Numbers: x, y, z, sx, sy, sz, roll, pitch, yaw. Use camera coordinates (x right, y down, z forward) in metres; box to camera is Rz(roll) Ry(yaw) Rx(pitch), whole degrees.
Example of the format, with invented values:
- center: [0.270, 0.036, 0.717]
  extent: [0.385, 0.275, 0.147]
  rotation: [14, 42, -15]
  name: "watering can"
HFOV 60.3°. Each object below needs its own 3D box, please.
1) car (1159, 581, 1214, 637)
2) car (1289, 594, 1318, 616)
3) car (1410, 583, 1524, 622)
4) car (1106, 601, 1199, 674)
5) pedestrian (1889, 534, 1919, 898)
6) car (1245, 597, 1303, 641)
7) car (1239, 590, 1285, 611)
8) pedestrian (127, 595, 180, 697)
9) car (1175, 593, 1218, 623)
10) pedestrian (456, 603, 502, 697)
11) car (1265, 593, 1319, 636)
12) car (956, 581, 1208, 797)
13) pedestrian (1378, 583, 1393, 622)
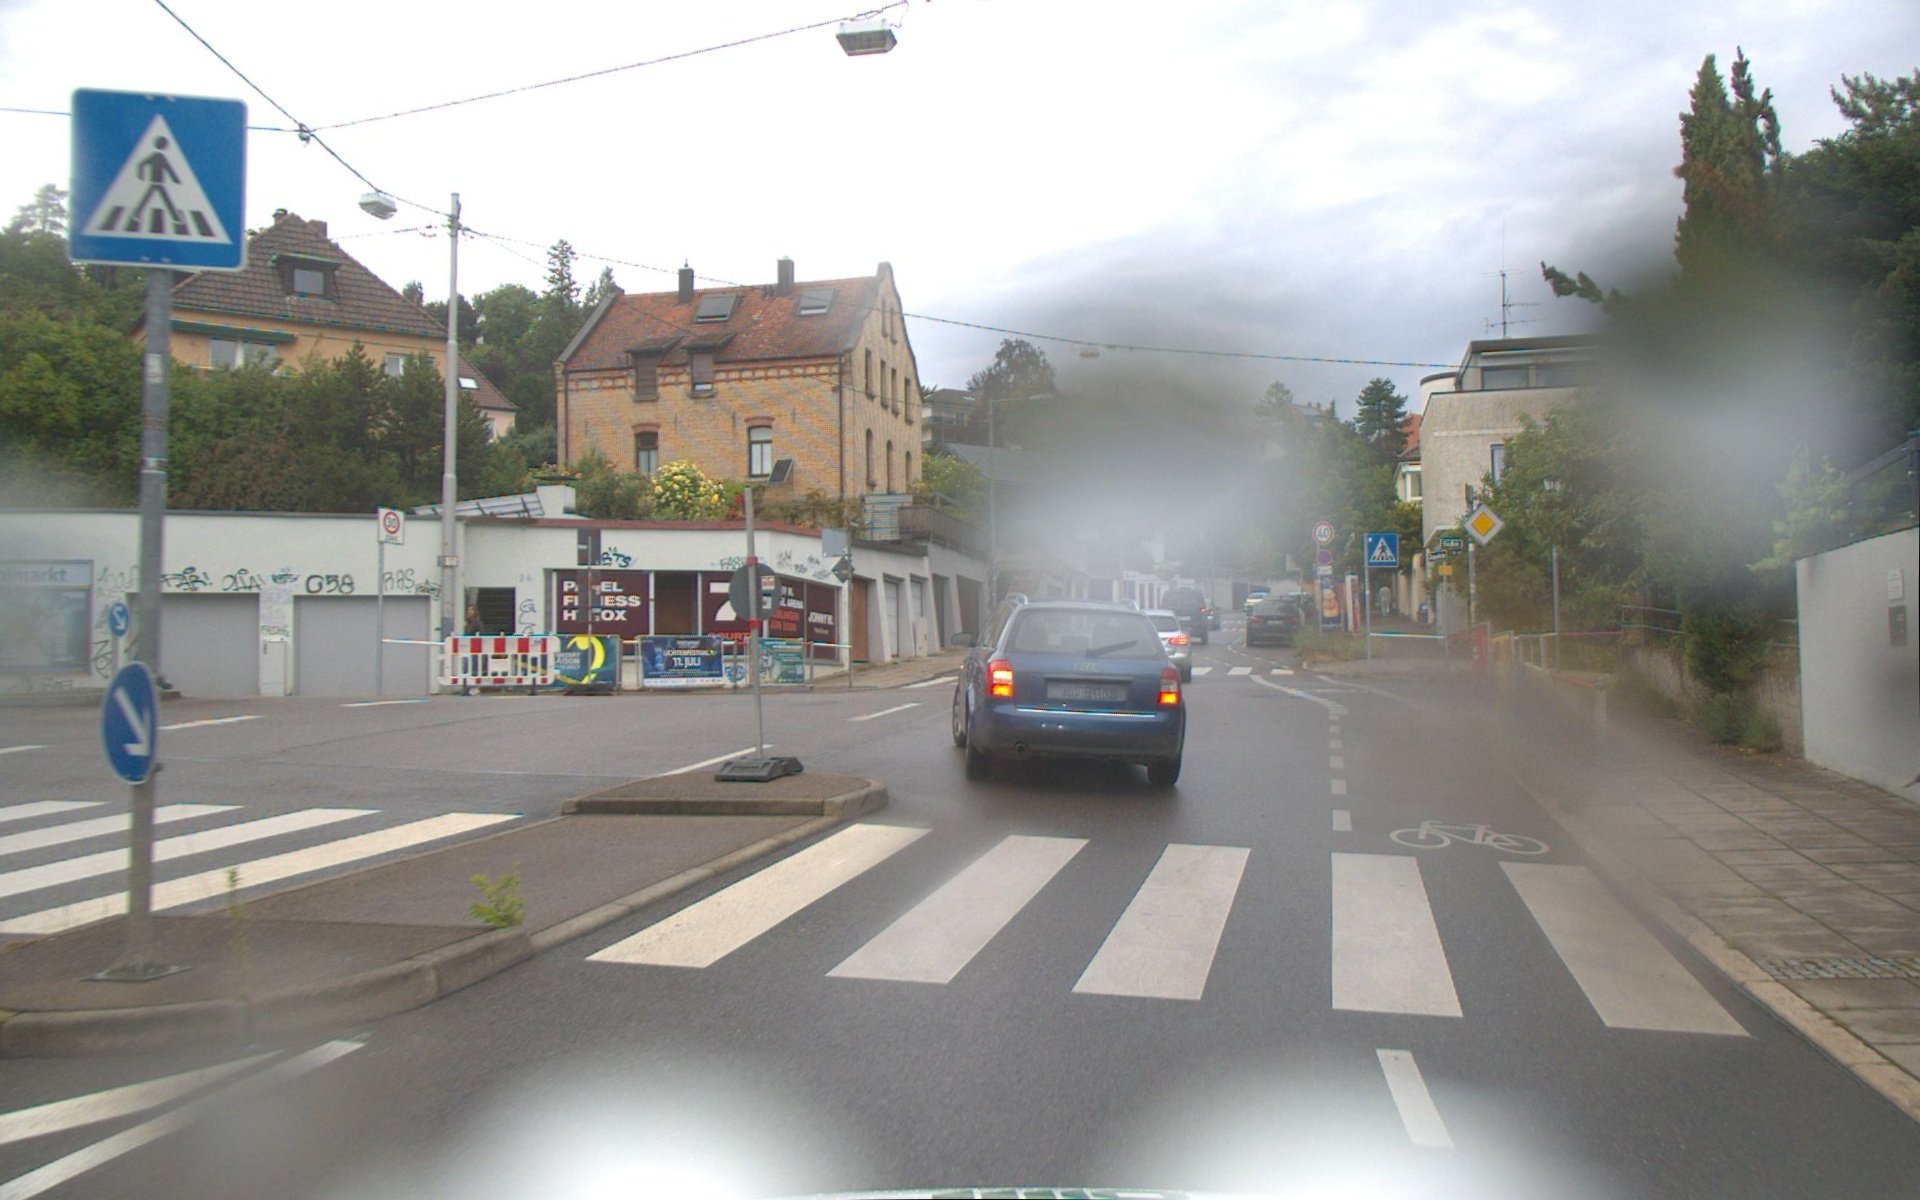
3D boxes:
- center: [7.784, 0.296, 56.771]
  extent: [1.785, 1.851, 4.003]
  rotation: [-1, 0, 8]
  name: "car"
- center: [20.796, 0.294, 100.123]
  extent: [1.437, 1.276, 3.584]
  rotation: [-1, 0, 16]
  name: "car"
- center: [19.181, 0.100, 62.624]
  extent: [3.909, 1.440, 1.723]
  rotation: [0, 0, 27]
  name: "car"
- center: [3.997, 0.777, 34.224]
  extent: [1.773, 1.384, 4.002]
  rotation: [1, -1, 7]
  name: "car"
- center: [4.927, 0.545, 7.597]
  extent: [0.786, 1.752, 1.061]
  rotation: [-2, -1, 11]
  name: "pedestrian"
- center: [10.413, 0.605, 55.116]
  extent: [1.733, 1.401, 4.352]
  rotation: [-1, 0, 9]
  name: "car"
- center: [24.182, 0.067, 132.382]
  extent: [3.507, 1.634, 1.712]
  rotation: [0, 0, -35]
  name: "car"
- center: [-14.794, 0.833, 30.350]
  extent: [0.692, 1.837, 0.805]
  rotation: [1, -1, -15]
  name: "pedestrian"
- center: [10.939, 0.370, 76.457]
  extent: [1.785, 1.319, 4.004]
  rotation: [-1, 0, 10]
  name: "car"
- center: [-8.982, 0.935, 30.886]
  extent: [0.579, 1.719, 0.616]
  rotation: [-1, -2, -43]
  name: "pedestrian"
- center: [12.105, 0.510, 60.490]
  extent: [1.679, 1.476, 3.836]
  rotation: [-1, 0, 8]
  name: "car"
- center: [0.900, 0.628, 14.121]
  extent: [1.774, 1.464, 4.082]
  rotation: [3, 1, 0]
  name: "car"
- center: [20.224, 0.103, 78.584]
  extent: [0.625, 1.826, 0.745]
  rotation: [-1, 0, 9]
  name: "pedestrian"
